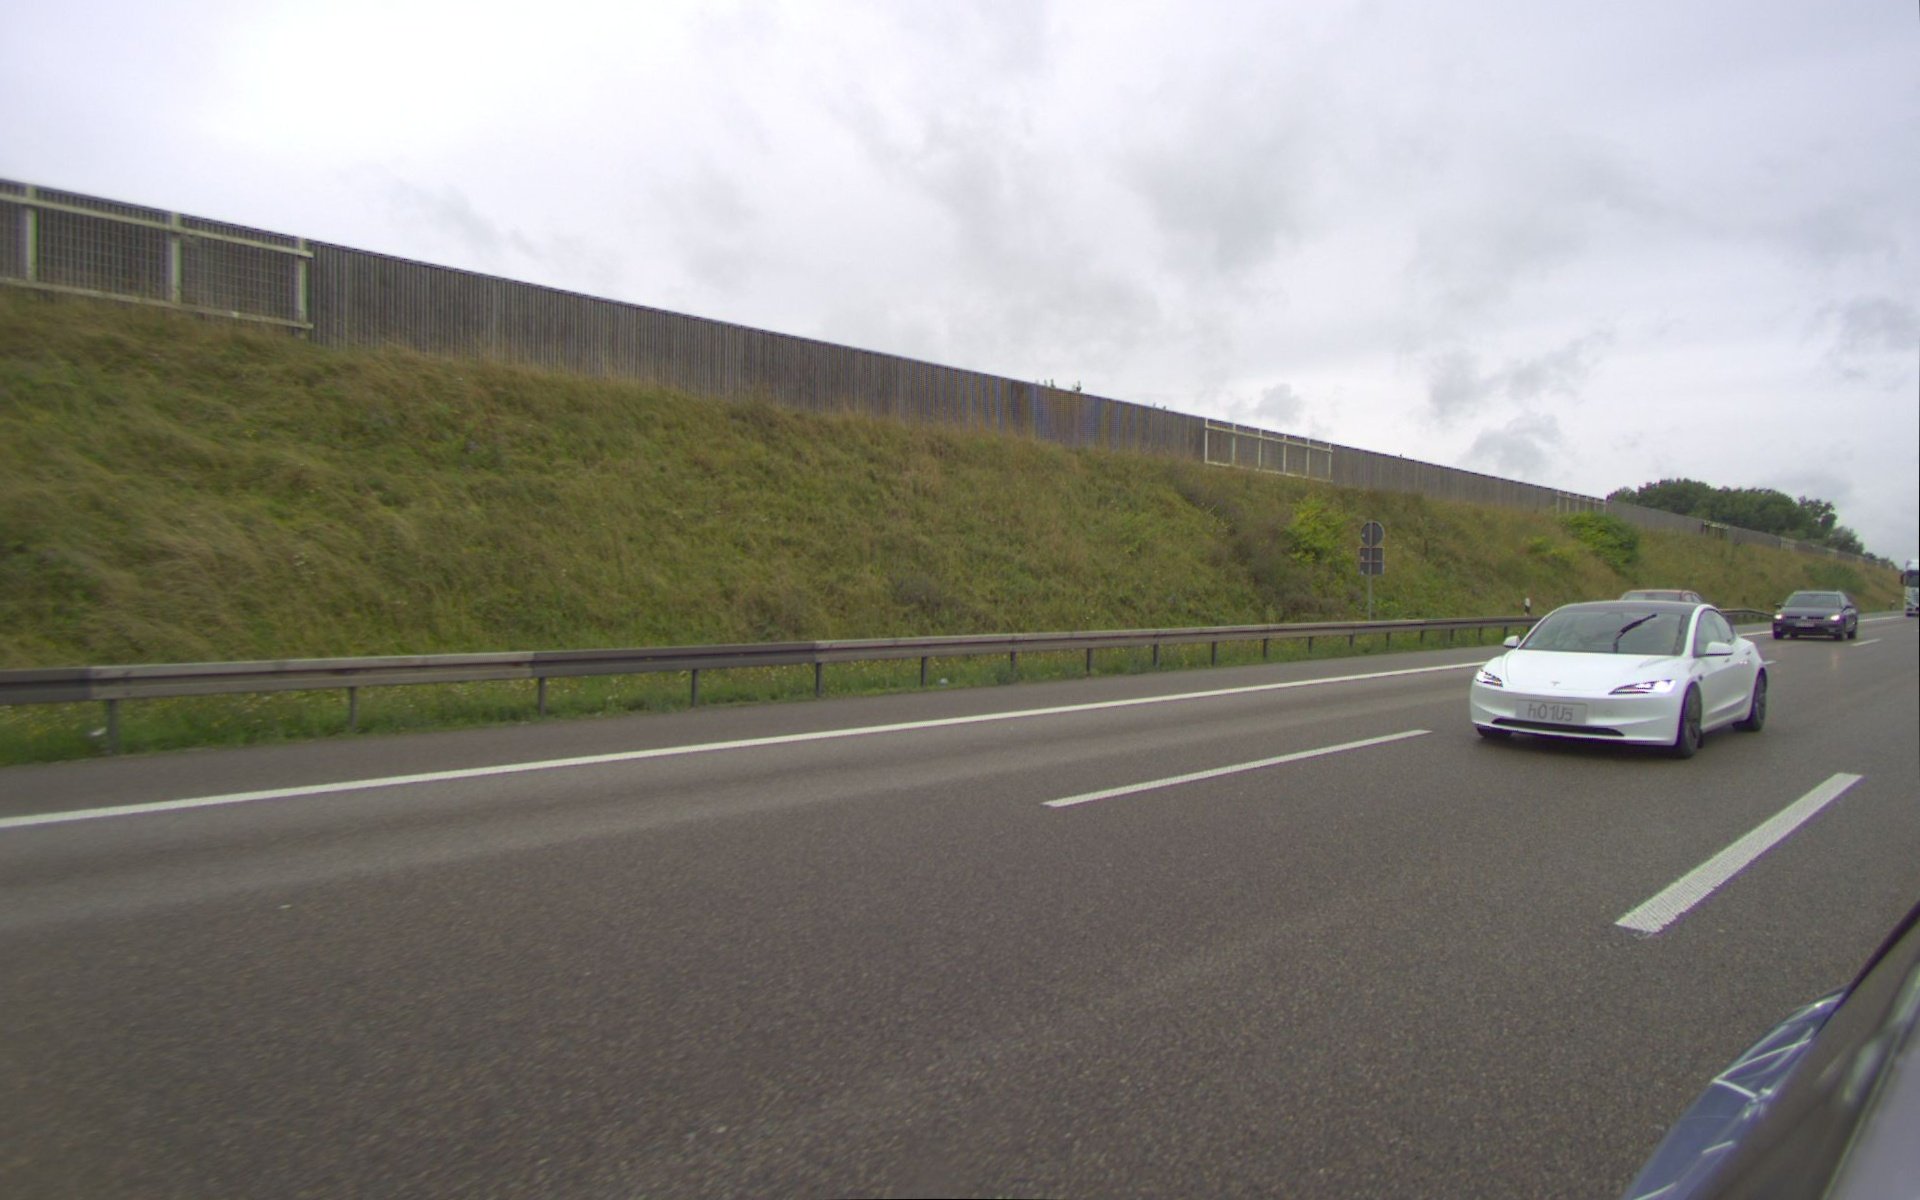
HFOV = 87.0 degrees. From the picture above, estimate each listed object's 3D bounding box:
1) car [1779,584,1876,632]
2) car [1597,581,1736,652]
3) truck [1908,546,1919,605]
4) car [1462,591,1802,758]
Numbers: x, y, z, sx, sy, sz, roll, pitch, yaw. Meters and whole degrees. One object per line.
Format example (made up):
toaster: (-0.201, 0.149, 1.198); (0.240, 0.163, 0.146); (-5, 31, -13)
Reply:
car: (29.425, 0.238, 34.282); (4.408, 1.507, 1.927); (-1, 1, -42)
car: (17.026, 0.336, 24.329); (3.931, 1.554, 1.876); (-1, 1, -42)
truck: (69.542, -1.746, 71.720); (6.842, 4.077, 3.084); (-1, 1, -44)
car: (7.367, 0.616, 10.889); (4.729, 1.380, 1.876); (-1, 1, -41)
